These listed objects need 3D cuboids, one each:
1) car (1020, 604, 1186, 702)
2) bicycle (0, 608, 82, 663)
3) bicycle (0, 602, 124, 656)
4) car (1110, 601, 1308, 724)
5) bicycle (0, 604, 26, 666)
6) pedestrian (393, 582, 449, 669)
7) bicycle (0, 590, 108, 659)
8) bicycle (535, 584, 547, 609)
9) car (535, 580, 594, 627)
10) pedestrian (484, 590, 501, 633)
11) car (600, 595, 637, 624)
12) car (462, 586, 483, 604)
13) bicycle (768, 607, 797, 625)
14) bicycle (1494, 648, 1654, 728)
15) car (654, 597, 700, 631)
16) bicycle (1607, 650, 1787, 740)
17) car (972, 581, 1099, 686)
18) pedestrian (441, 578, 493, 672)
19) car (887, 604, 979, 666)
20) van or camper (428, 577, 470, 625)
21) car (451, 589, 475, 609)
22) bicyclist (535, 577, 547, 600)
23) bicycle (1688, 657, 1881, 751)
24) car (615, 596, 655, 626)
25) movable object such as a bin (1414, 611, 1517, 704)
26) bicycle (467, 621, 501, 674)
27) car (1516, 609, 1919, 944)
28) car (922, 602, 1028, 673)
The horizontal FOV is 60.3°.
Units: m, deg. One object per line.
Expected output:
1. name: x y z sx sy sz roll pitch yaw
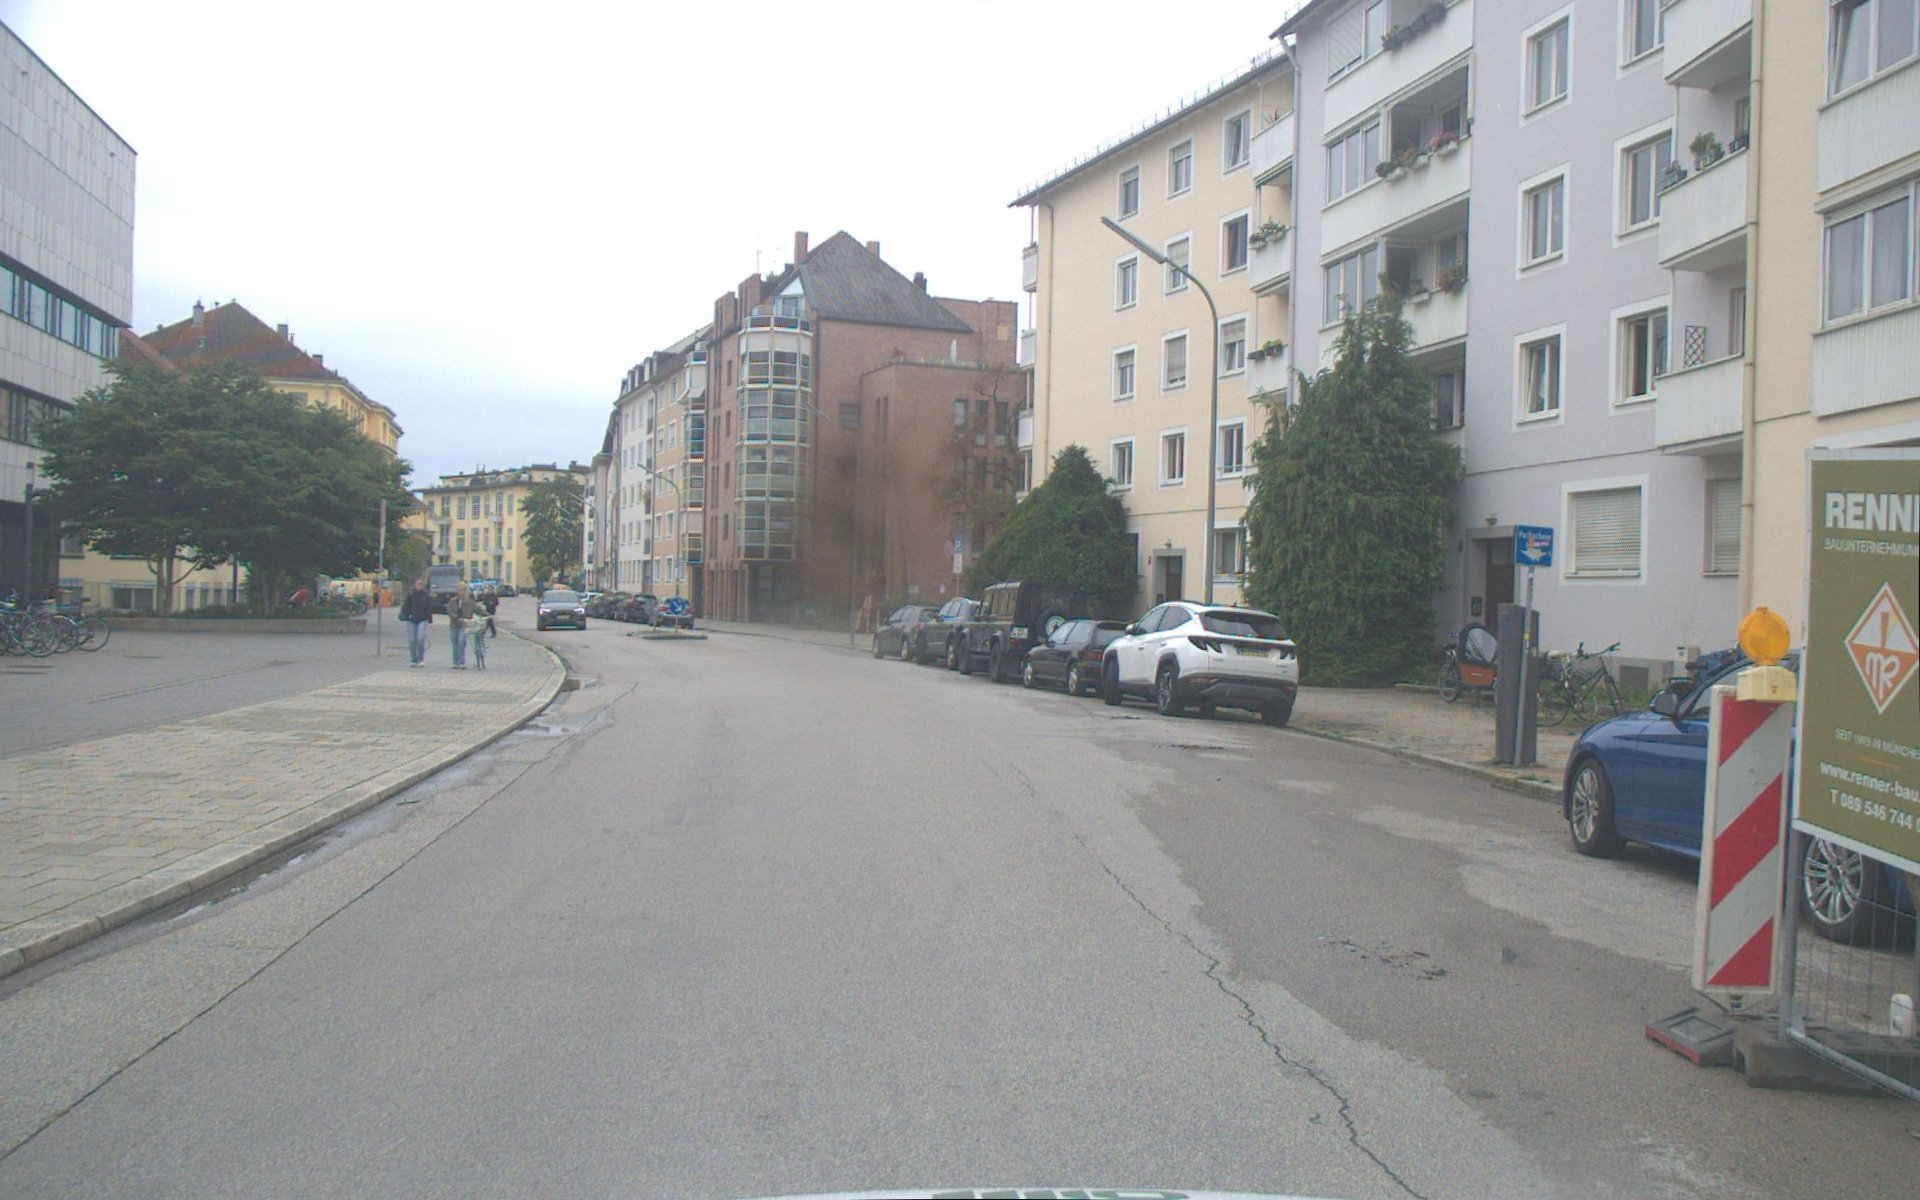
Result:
1. car: 2.467 0.891 29.428 1.752 1.545 3.705 3 0 -15
2. bicycle: -17.519 0.626 30.686 2.000 0.901 0.671 5 -2 -20
3. bicycle: -18.256 0.588 33.624 2.084 0.894 0.824 5 -1 -20
4. car: 3.576 0.855 24.487 1.796 1.601 3.992 2 0 -8
5. bicycle: -17.461 0.560 29.028 1.702 1.050 0.525 5 -2 -21
6. pedestrian: -10.583 0.489 32.489 0.745 1.658 0.921 1 0 1
7. bicycle: -17.843 0.467 32.283 2.000 1.176 0.591 5 -2 -20
8. bicycle: -38.759 -0.307 153.102 1.008 2.049 3.268 2 -4 -14
9. car: -16.560 0.138 69.173 1.963 1.867 4.144 2 0 -19
10. pedestrian: -16.093 0.400 56.890 0.453 1.486 0.442 2 -2 -8
11. car: -19.190 0.511 92.953 1.608 1.509 3.591 2 0 -18
12. car: -43.047 -0.475 146.203 1.605 1.509 3.597 2 0 -14
13. bicycle: -9.281 0.841 86.331 1.085 0.869 1.717 2 0 -21
14. bicycle: 8.578 1.216 23.141 1.971 1.034 0.774 -1 0 -10
15. car: -13.445 0.639 78.378 1.608 1.509 3.591 2 0 -18
16. bicycle: 9.223 1.175 20.723 1.971 1.034 0.774 -1 0 -10
17. car: 1.481 0.630 33.752 1.749 2.011 3.709 0 0 -11
18. pedestrian: -9.692 0.482 32.552 0.720 1.799 0.920 1 0 -2
19. car: -0.746 0.887 43.428 1.749 1.537 3.709 1 0 -11
20. van or camper: -29.076 0.072 94.176 2.062 2.596 4.751 2 0 -15
21. car: -38.559 -0.070 128.260 1.608 1.509 3.591 2 0 -18
22. bicyclist: -38.821 -1.081 153.337 1.016 2.049 1.180 2 -2 -15
23. bicycle: 9.835 1.228 19.765 1.970 1.034 0.774 -1 0 -8
24. car: -17.342 0.567 88.139 1.608 1.509 3.591 2 0 -18
25. movable object such as a bin: 8.560 0.953 28.037 1.267 1.459 1.048 -3 1 -12
26. bicycle: -9.339 0.916 32.452 0.381 0.986 1.712 2 0 -8
27. car: 4.984 0.826 9.537 1.746 1.464 4.276 2 0 -6
28. car: 0.299 0.857 39.084 1.749 1.537 3.709 2 0 -11
